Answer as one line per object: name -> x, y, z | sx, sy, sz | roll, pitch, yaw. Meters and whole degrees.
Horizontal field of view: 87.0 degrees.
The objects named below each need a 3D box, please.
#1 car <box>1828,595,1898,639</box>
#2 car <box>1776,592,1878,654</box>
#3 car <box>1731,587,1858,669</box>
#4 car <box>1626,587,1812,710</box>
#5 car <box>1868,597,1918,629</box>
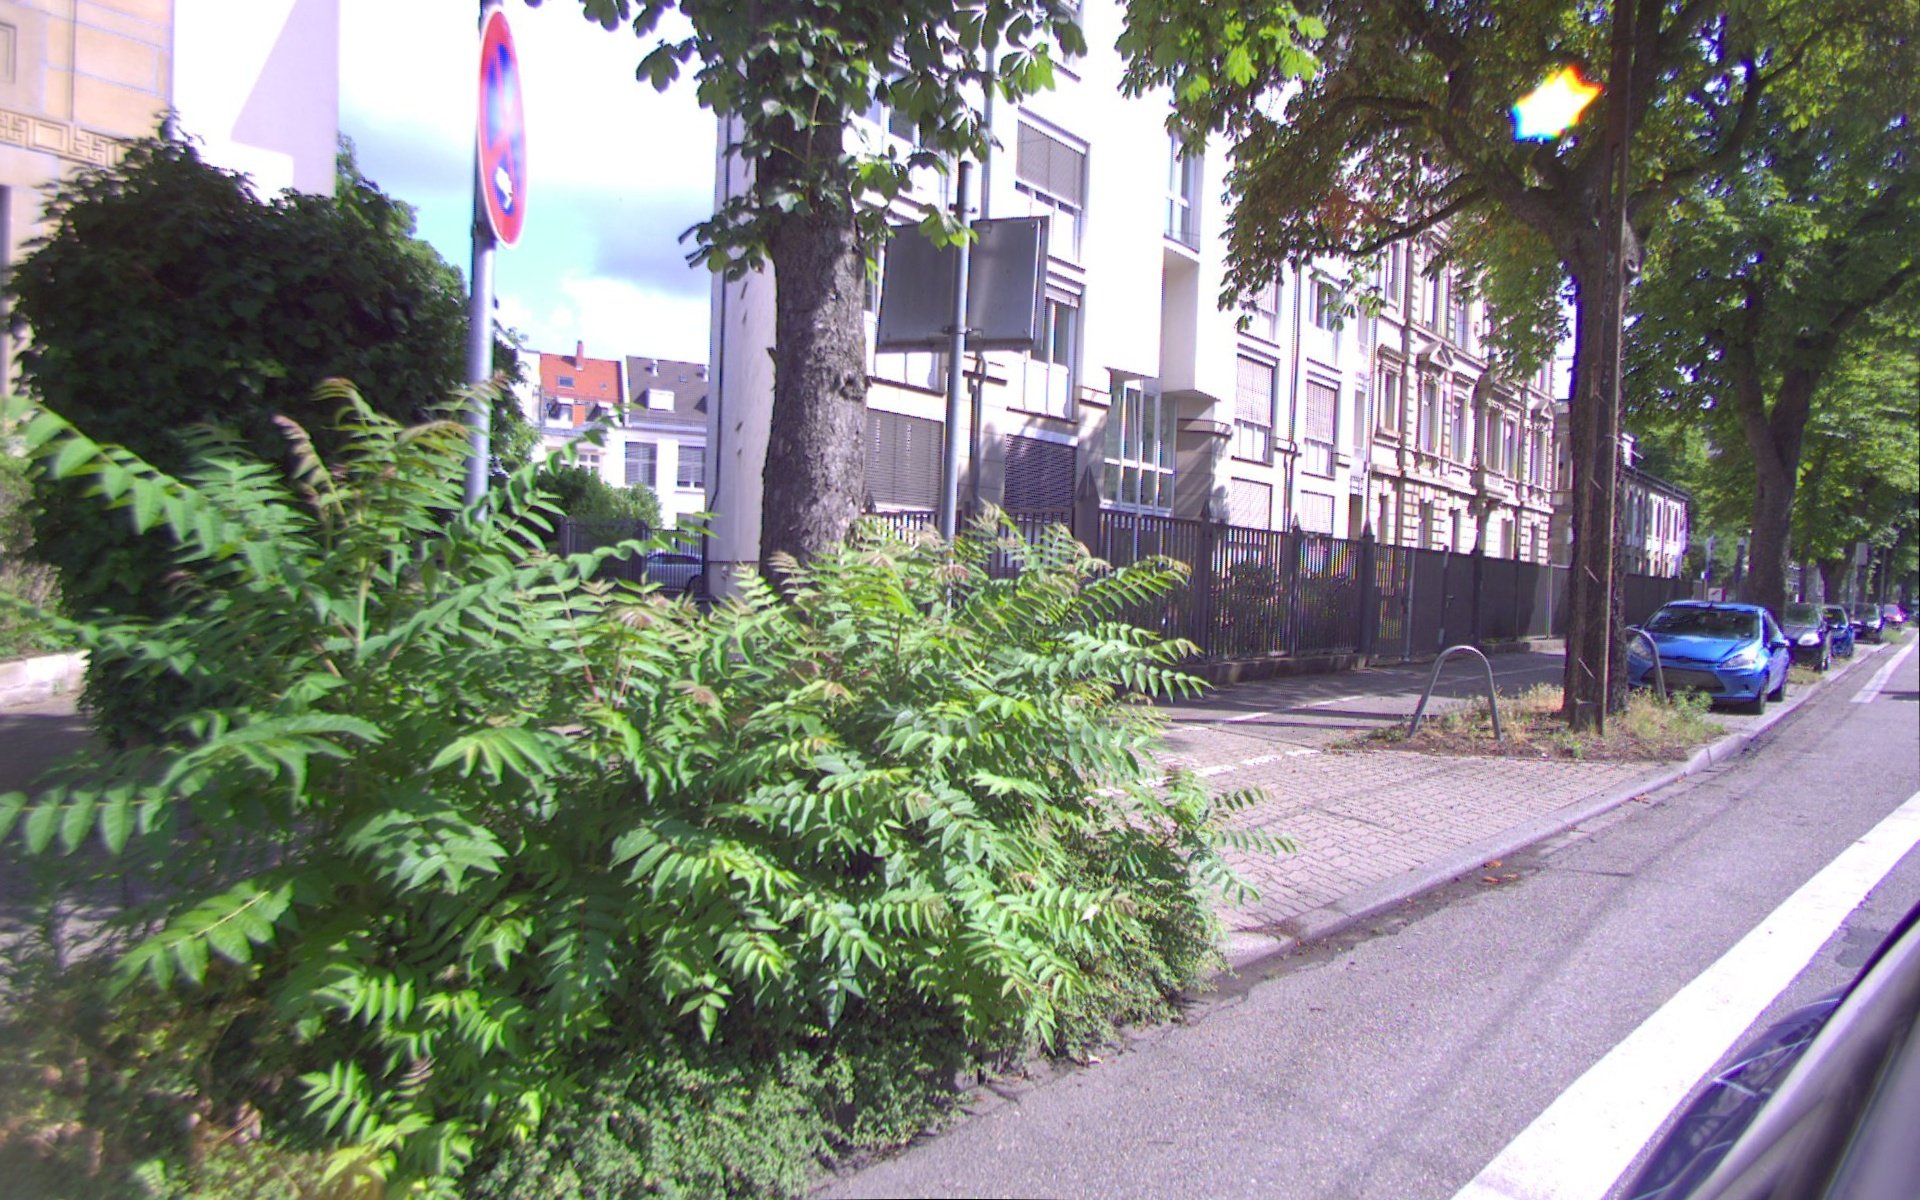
car -> 36.815, 0.655, 41.211 | 4.131, 1.549, 1.772 | 0, 4, -44
car -> 23.870, 0.590, 27.834 | 3.861, 1.469, 1.722 | 0, 4, -44
car -> 18.277, 0.563, 22.115 | 3.562, 1.526, 1.643 | 0, 4, -44
car -> 11.200, 0.610, 14.848 | 1.639, 1.472, 3.639 | 6, 4, 44
car -> 52.711, 0.695, 57.136 | 4.131, 1.591, 1.772 | 0, 4, -44
